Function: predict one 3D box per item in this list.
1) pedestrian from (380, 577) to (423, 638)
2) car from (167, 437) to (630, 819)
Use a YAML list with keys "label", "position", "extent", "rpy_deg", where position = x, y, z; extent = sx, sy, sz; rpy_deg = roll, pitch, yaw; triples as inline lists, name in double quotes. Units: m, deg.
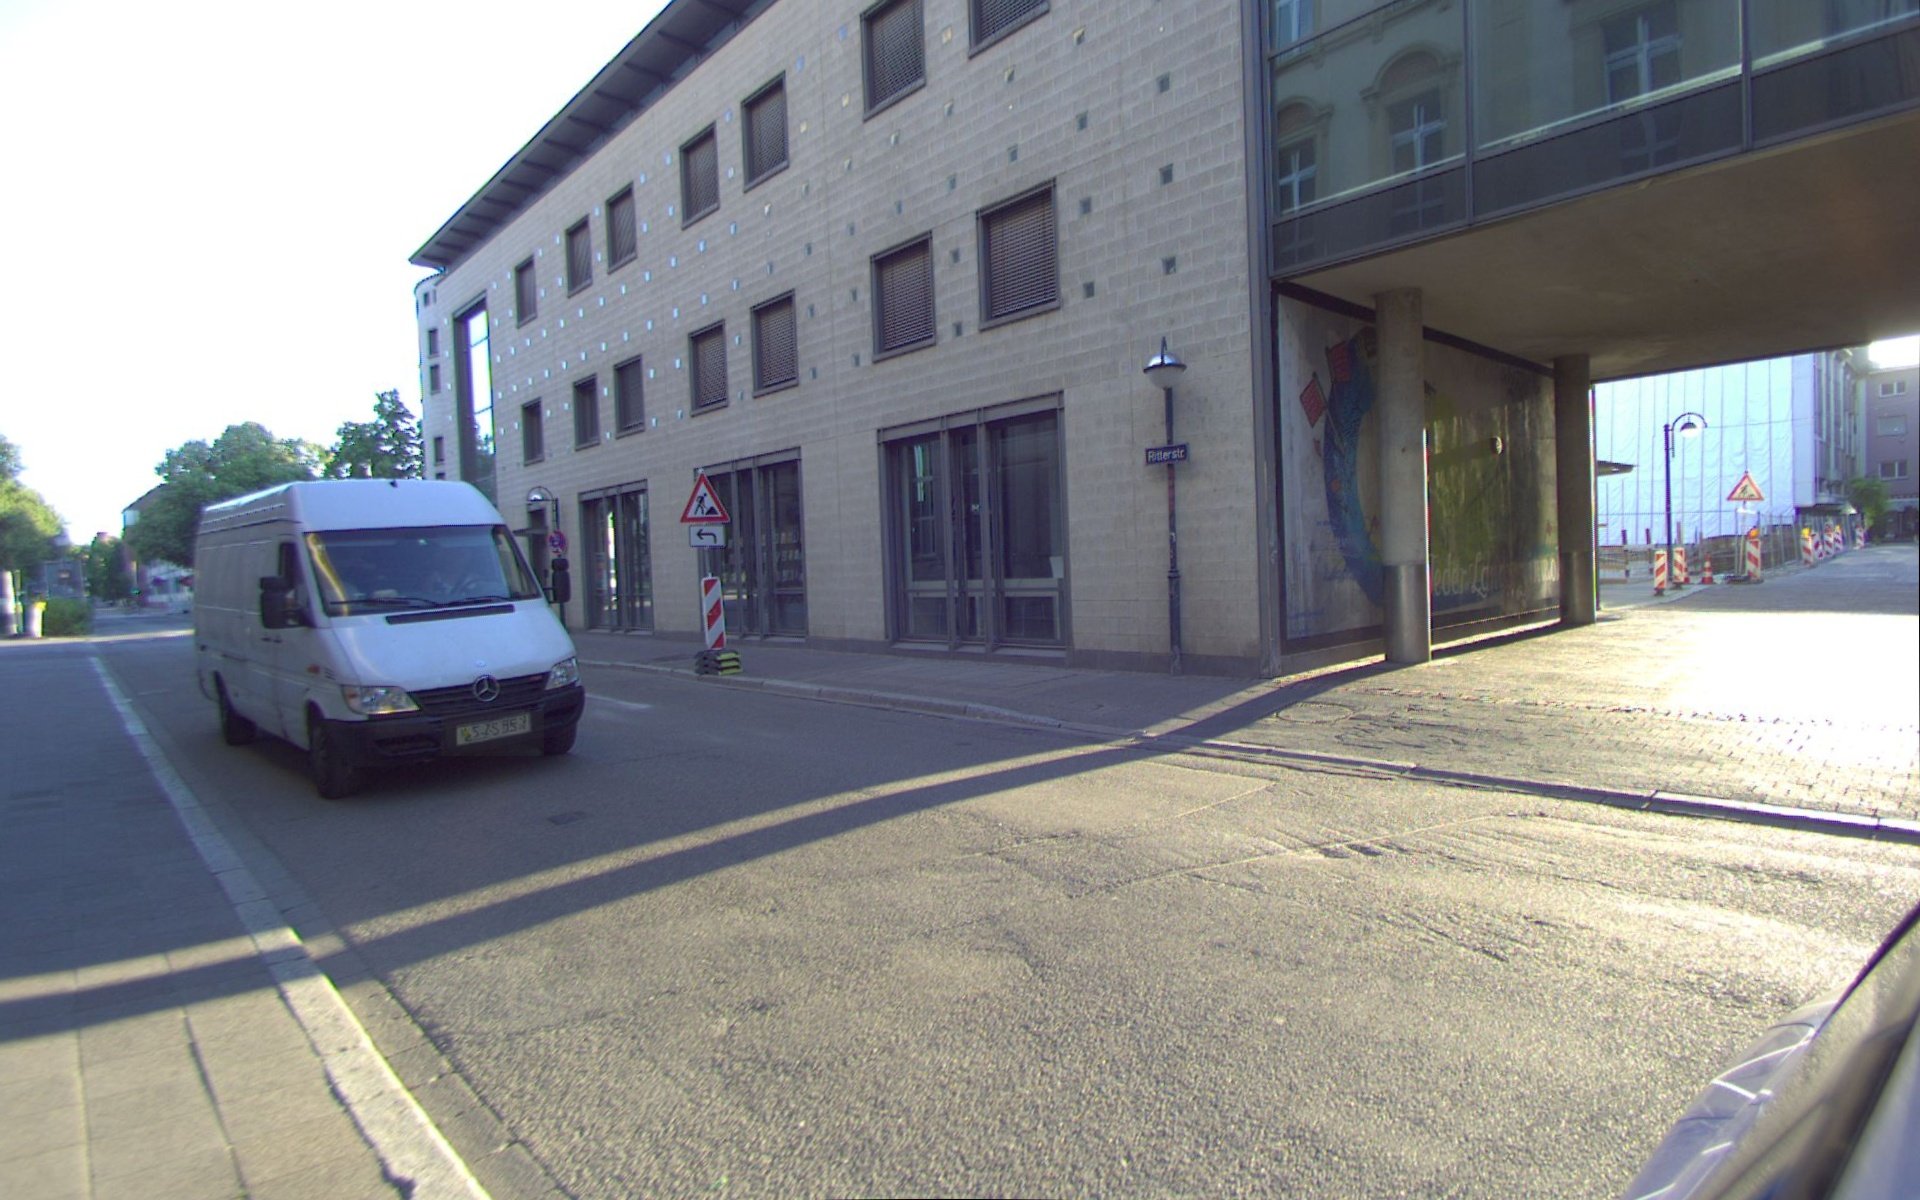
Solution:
- label: "pedestrian"
  position: [-16.611, 0.209, 30.095]
  extent: [0.910, 1.723, 0.867]
  rpy_deg: [-3, 2, -40]
- label: "car"
  position: [-5.719, 0.115, 9.688]
  extent: [6.449, 2.542, 1.972]
  rpy_deg: [0, 4, 44]
